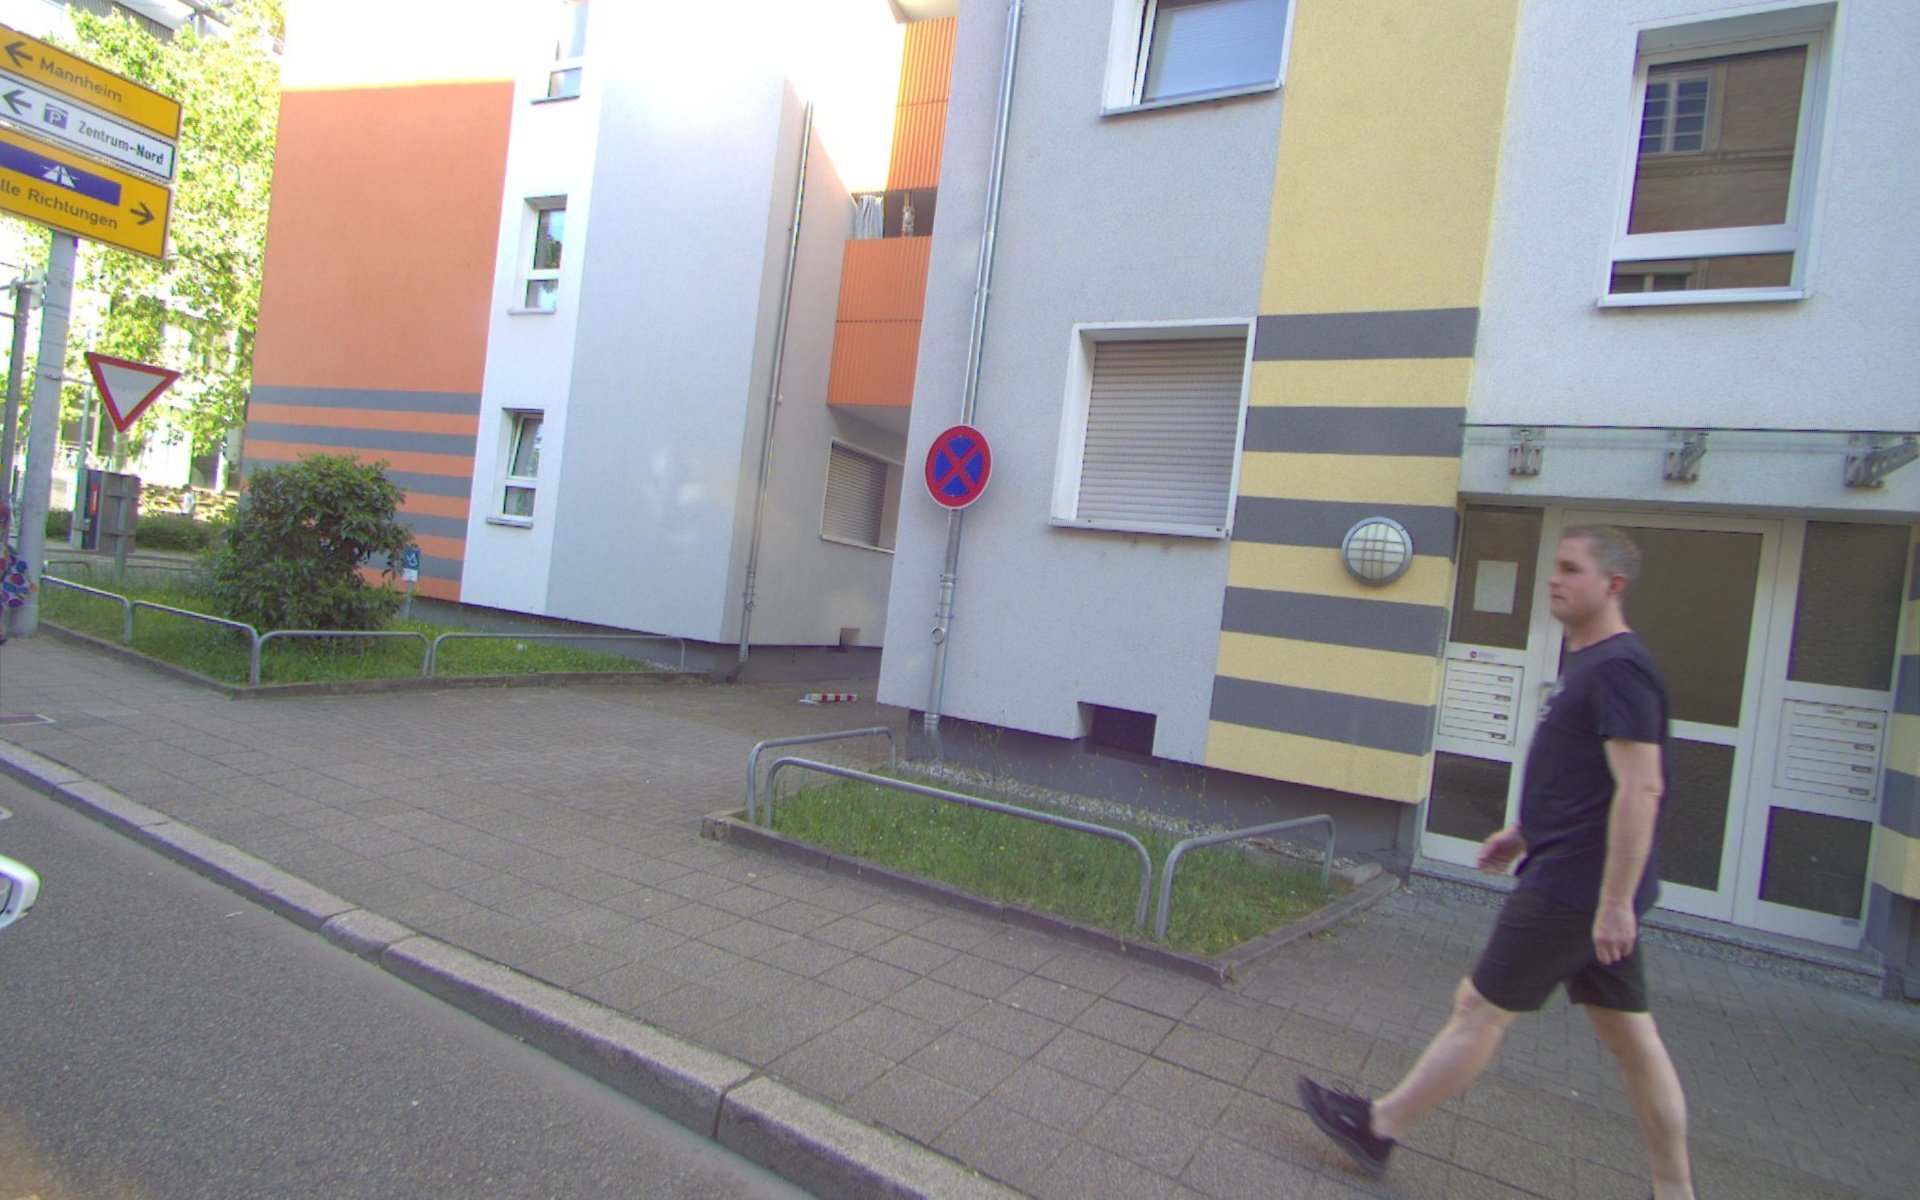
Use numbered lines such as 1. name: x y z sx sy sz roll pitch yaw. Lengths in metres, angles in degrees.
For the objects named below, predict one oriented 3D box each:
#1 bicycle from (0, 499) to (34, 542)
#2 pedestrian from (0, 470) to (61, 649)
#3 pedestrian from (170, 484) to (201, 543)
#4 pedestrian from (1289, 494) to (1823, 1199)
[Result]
1. bicycle: -26.422 -2.245 27.293 1.883 1.062 0.463 7 1 -10
2. pedestrian: -8.872 -0.390 9.039 0.737 1.595 0.954 7 4 27
3. pedestrian: -25.811 -2.889 33.515 0.536 1.854 1.027 6 1 -45
4. pedestrian: 1.512 0.679 2.655 0.901 1.813 0.643 7 4 35
